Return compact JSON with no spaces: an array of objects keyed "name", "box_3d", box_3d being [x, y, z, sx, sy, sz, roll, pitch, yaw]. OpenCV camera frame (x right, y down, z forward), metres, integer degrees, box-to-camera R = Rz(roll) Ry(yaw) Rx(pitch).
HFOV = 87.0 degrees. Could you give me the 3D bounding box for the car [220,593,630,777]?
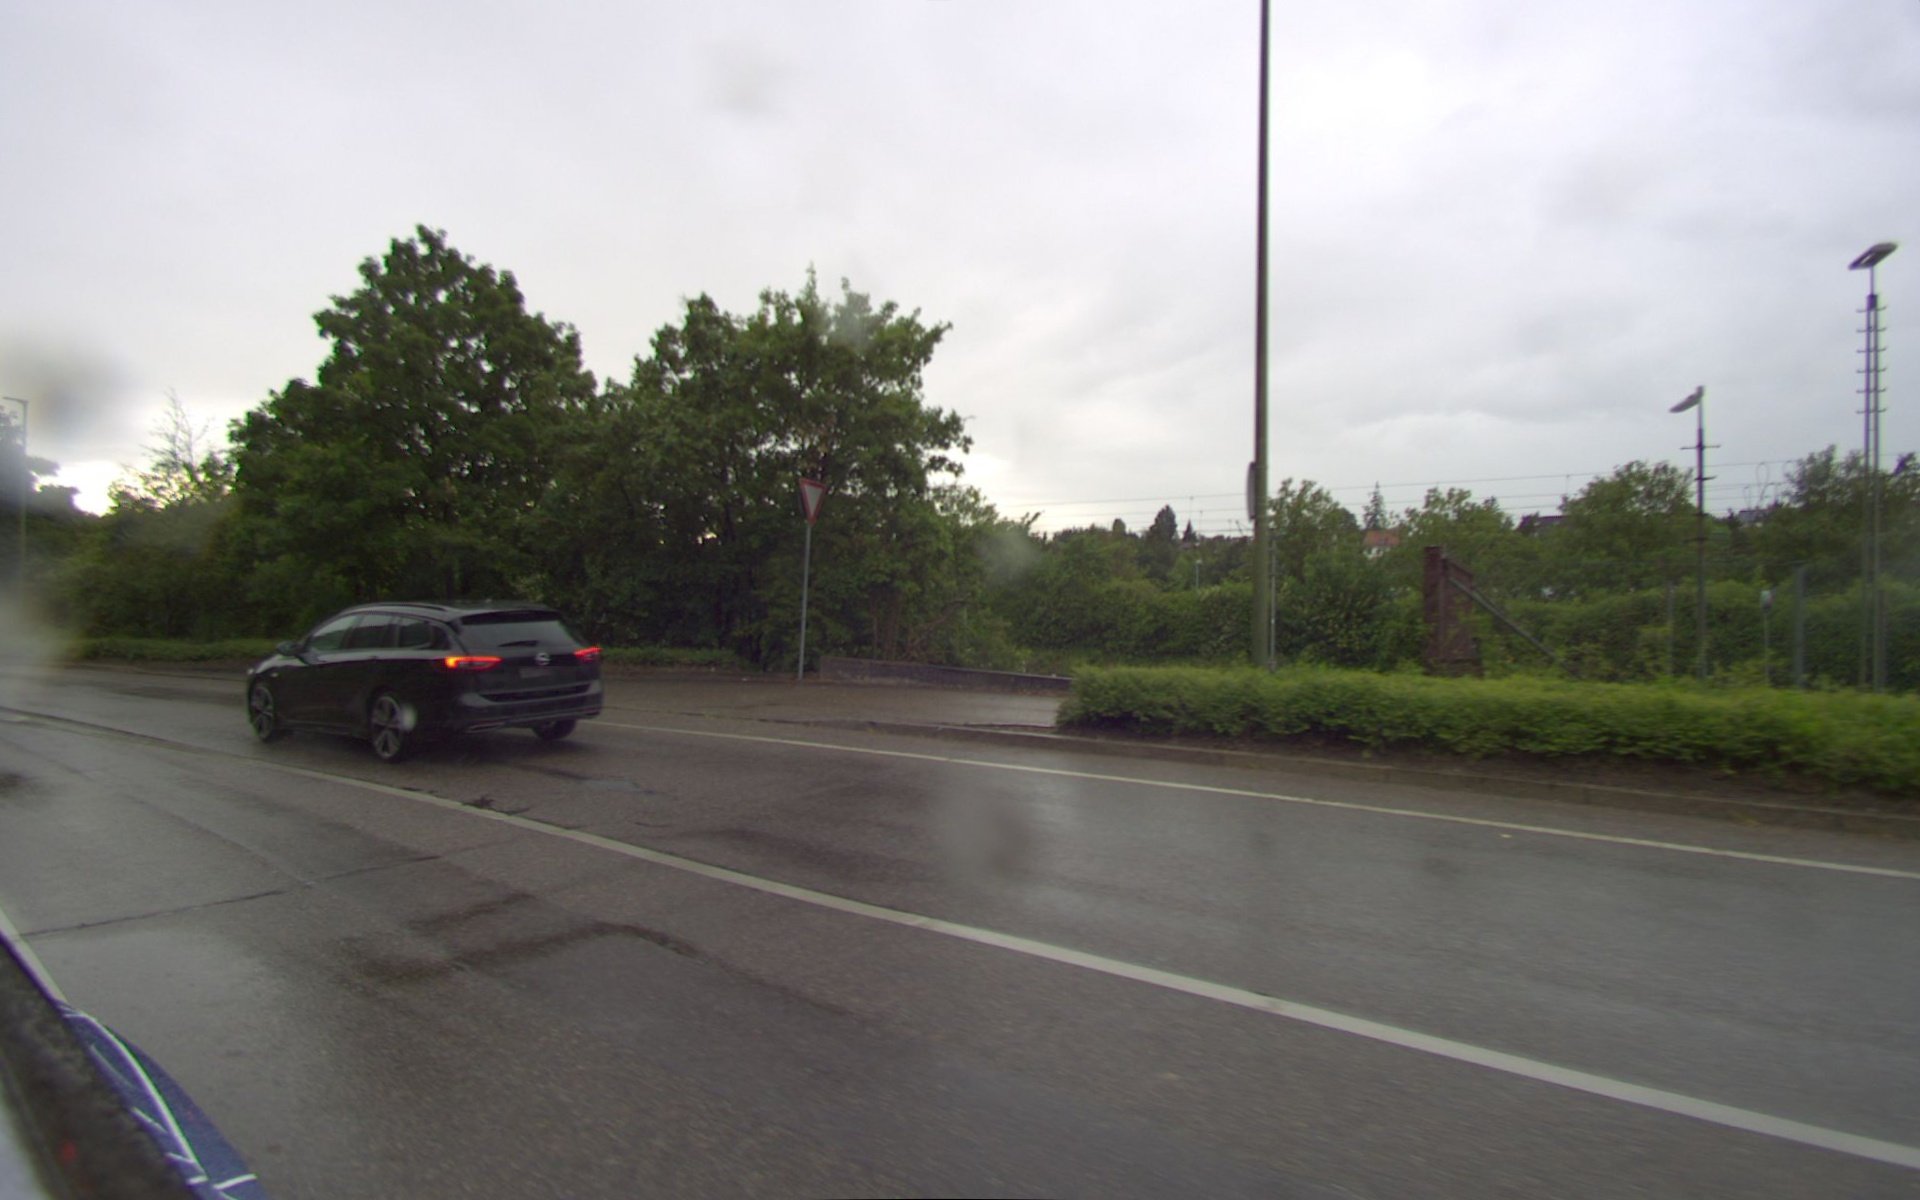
[{"name":"car","box_3d":[-5.549,0.710,10.298,4.530,1.473,1.710,-1,1,33]}]
